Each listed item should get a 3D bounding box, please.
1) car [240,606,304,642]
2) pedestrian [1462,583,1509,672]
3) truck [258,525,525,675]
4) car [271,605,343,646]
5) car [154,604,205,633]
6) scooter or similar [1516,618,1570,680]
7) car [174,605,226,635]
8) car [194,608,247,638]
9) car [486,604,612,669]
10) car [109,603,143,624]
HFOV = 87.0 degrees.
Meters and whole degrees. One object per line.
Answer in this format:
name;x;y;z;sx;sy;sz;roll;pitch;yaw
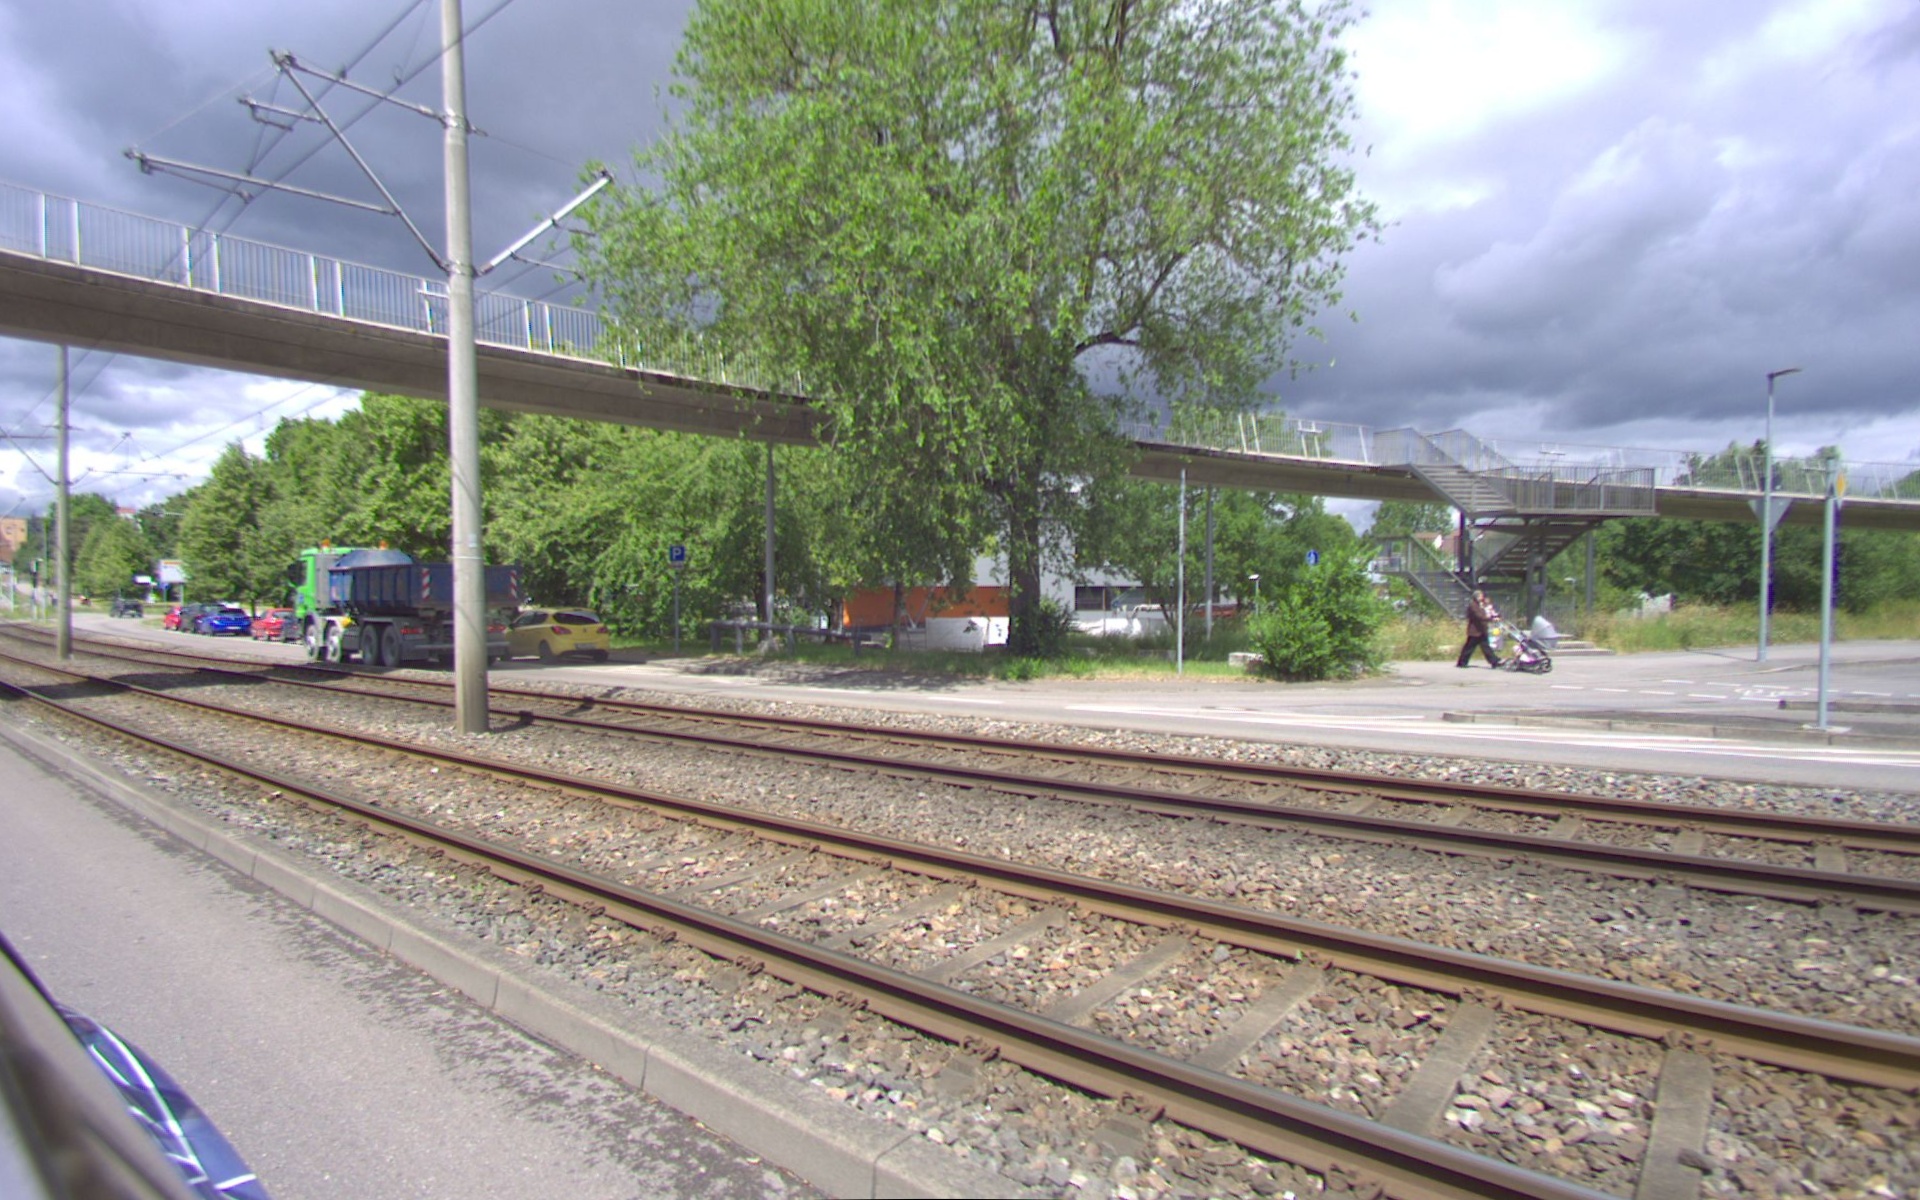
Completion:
car;-30.746;1.045;45.201;4.049;1.505;1.595;-1;0;44
pedestrian;10.878;0.547;20.948;0.718;1.769;0.654;1;3;43
truck;-15.120;-0.096;26.525;9.020;3.344;2.844;1;3;39
car;-27.018;1.021;41.823;4.160;1.608;1.540;-1;-2;43
car;-46.004;1.058;59.615;3.658;1.462;1.597;2;3;39
scooter or similar;11.640;0.962;20.212;0.788;1.155;0.702;2;3;44
car;-41.845;1.083;55.720;4.375;1.617;1.563;-1;-1;43
car;-38.007;1.180;51.981;4.009;1.472;1.594;0;-1;45
car;-11.120;0.923;27.272;3.899;1.461;1.671;2;3;43
car;-69.093;1.074;83.834;4.000;1.585;1.596;2;3;43
